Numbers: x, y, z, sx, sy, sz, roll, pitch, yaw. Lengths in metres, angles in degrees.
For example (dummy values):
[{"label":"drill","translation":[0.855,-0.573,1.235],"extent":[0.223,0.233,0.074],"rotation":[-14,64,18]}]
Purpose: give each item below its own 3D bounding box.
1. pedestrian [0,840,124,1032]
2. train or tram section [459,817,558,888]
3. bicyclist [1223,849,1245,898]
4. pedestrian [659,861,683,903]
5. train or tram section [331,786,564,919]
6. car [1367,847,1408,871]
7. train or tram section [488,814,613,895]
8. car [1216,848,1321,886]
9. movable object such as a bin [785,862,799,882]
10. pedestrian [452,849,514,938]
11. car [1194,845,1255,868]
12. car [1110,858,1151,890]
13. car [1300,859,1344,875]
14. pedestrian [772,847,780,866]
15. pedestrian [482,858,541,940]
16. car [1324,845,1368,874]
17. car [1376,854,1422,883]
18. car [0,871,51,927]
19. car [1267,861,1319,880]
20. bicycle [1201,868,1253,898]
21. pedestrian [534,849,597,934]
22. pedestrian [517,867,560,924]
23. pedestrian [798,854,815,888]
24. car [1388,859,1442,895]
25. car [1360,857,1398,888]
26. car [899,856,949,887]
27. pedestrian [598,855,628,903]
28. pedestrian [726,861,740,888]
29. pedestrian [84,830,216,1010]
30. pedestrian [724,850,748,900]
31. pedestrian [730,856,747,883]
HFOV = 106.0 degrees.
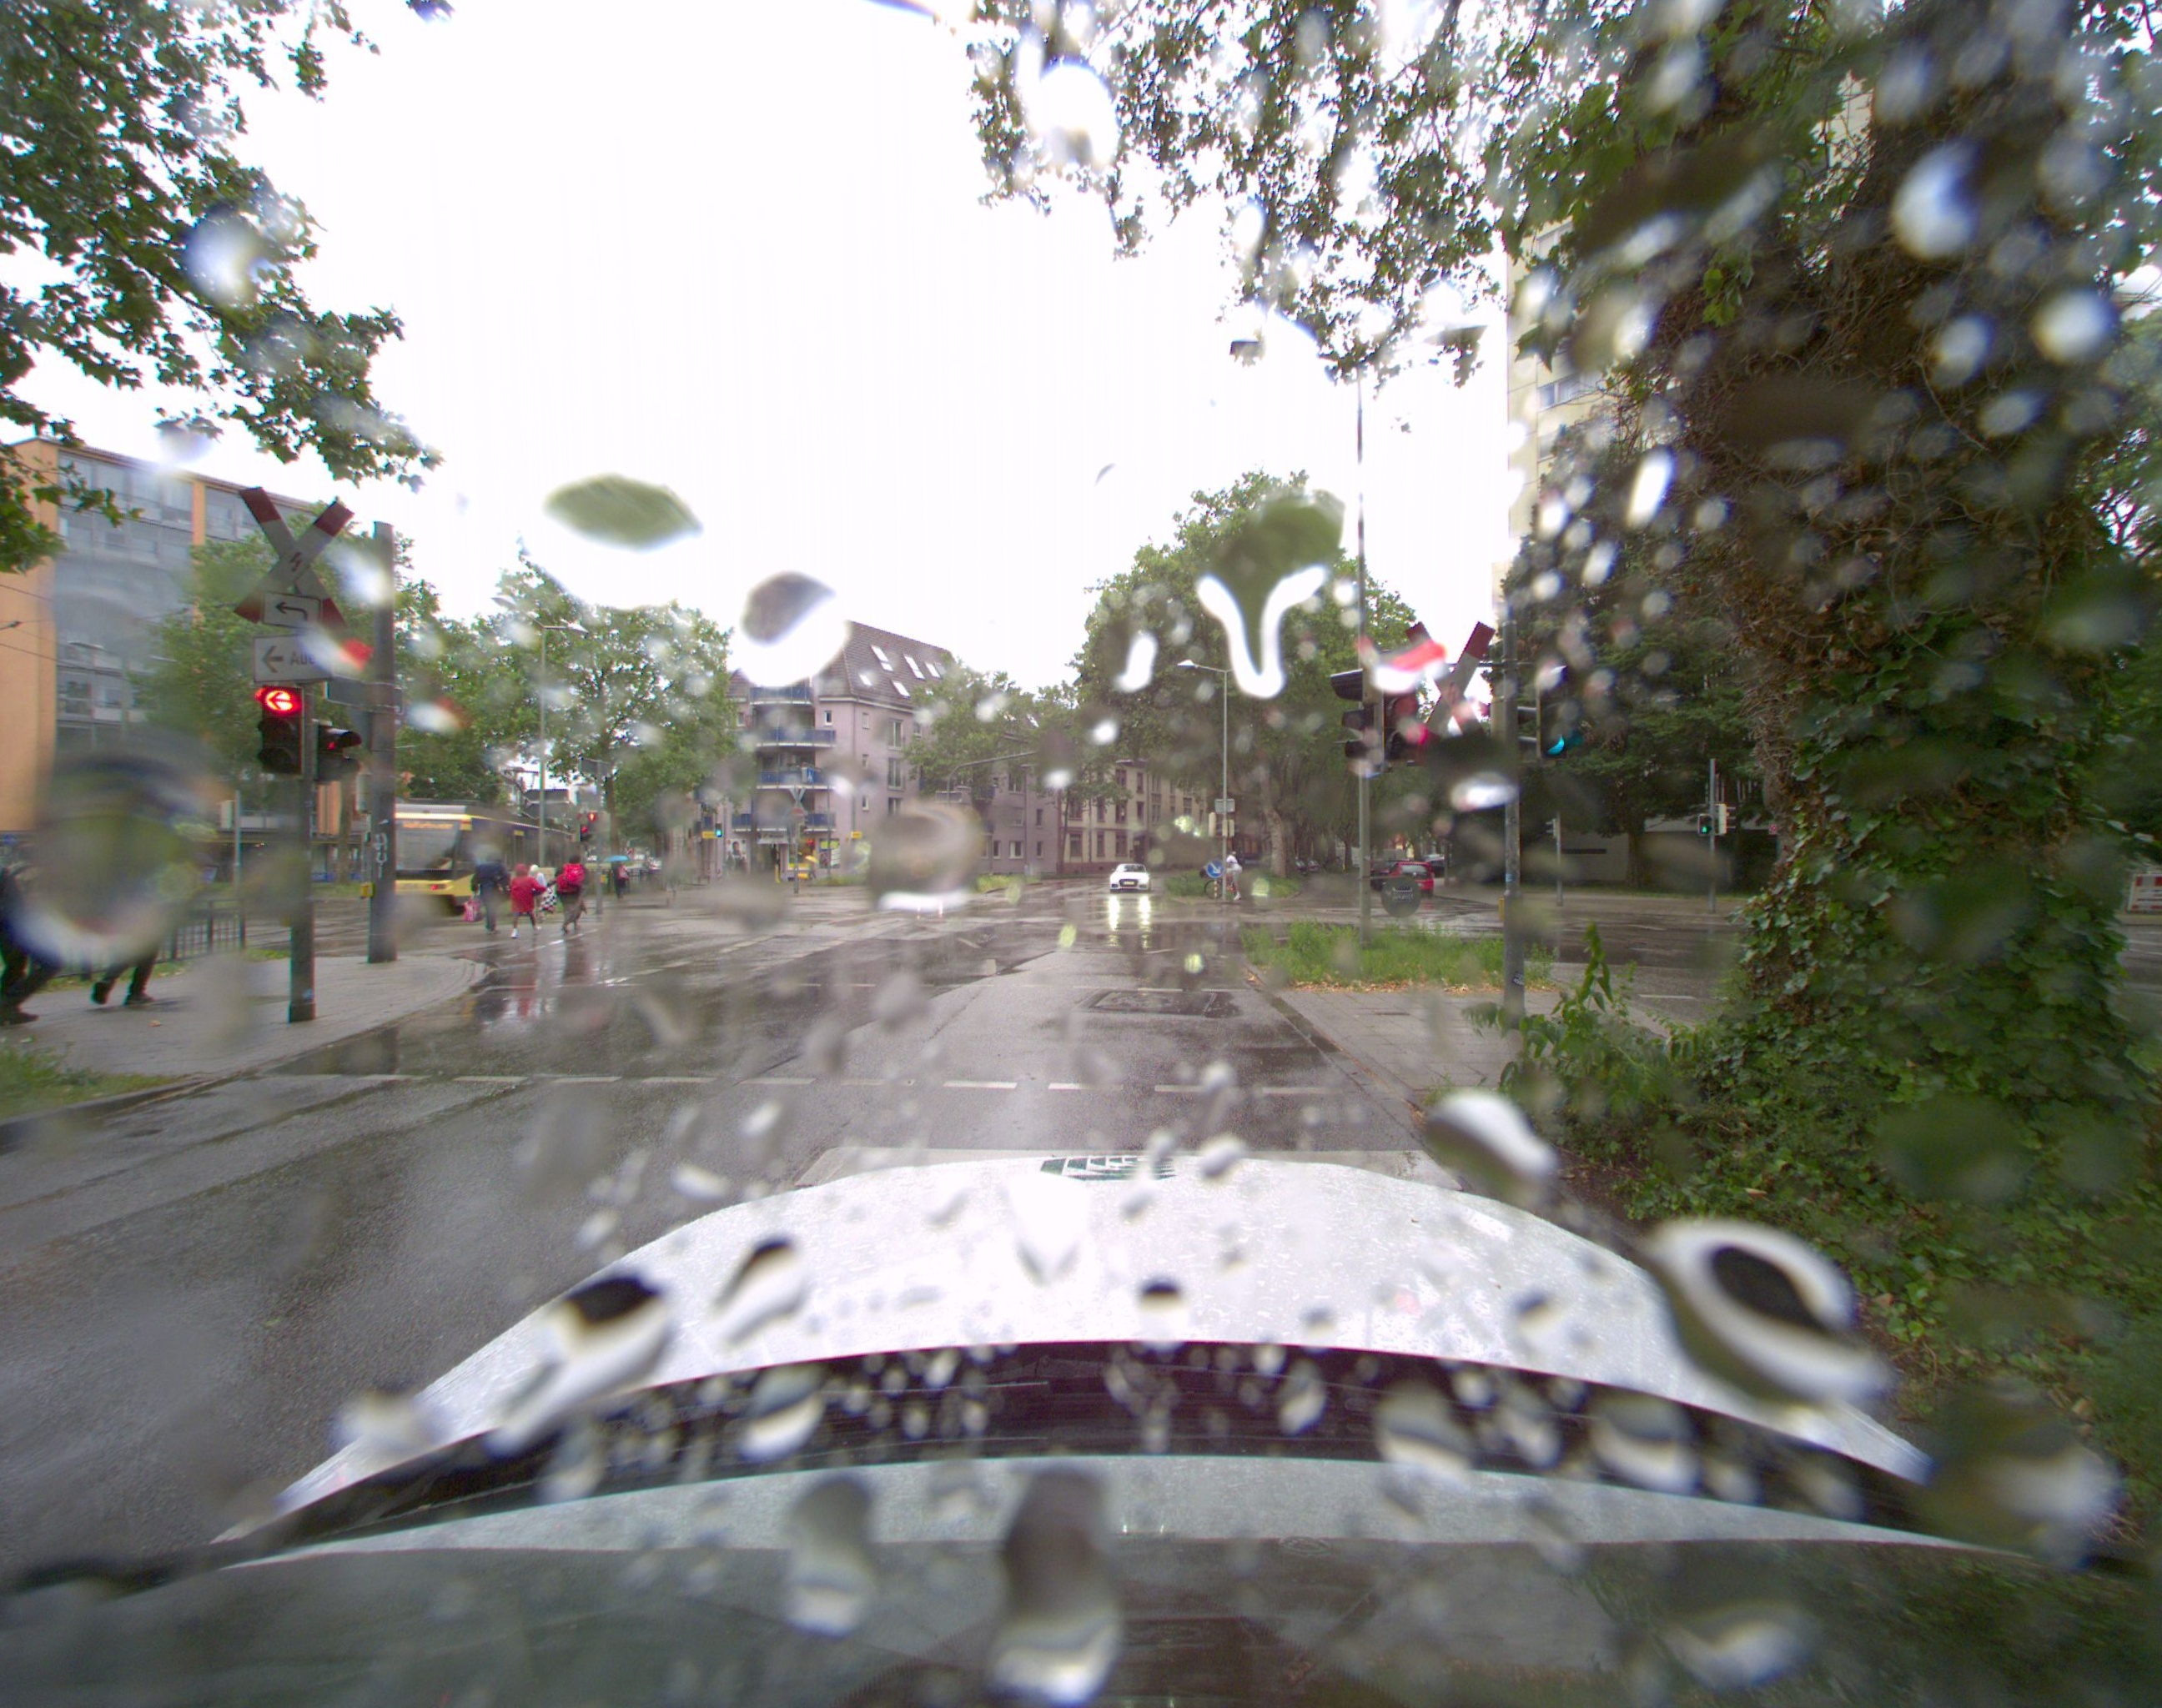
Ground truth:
[{"label":"pedestrian","translation":[-10.118,0.752,7.835],"extent":[0.867,1.755,0.826],"rotation":[0,0,-18]},{"label":"train or tram section","translation":[-35.796,0.000,51.605],"extent":[2.897,3.768,17.089],"rotation":[0,-1,-28]},{"label":"bicyclist","translation":[5.687,0.714,30.365],"extent":[0.790,1.786,0.699],"rotation":[-1,-1,9]},{"label":"pedestrian","translation":[-14.075,0.943,27.935],"extent":[0.653,1.396,0.774],"rotation":[0,0,-33]},{"label":"train or tram section","translation":[-21.635,-0.007,29.221],"extent":[2.873,3.545,15.253],"rotation":[0,0,-23]},{"label":"car","translation":[38.982,0.631,103.568],"extent":[2.006,2.948,4.726],"rotation":[0,-1,-29]},{"label":"train or tram section","translation":[-27.211,0.043,42.582],"extent":[2.871,3.545,13.616],"rotation":[0,0,-22]},{"label":"car","translation":[7.531,0.519,32.716],"extent":[3.958,1.486,2.008],"rotation":[-1,-1,14]},{"label":"movable object such as a bin","translation":[-18.243,1.131,51.447],"extent":[0.754,1.236,0.661],"rotation":[0,-1,-25]},{"label":"pedestrian","translation":[-11.968,0.762,16.297],"extent":[0.844,1.698,0.680],"rotation":[-4,3,-42]},{"label":"car","translation":[9.494,0.163,53.940],"extent":[3.838,1.486,1.723],"rotation":[-1,-1,14]},{"label":"car","translation":[2.395,0.935,39.223],"extent":[1.876,1.436,4.004],"rotation":[0,0,4]},{"label":"car","translation":[23.132,1.248,78.260],"extent":[3.958,1.547,2.008],"rotation":[-1,-1,14]},{"label":"pedestrian","translation":[-20.684,0.165,55.160],"extent":[0.445,1.329,0.558],"rotation":[0,-1,-15]},{"label":"pedestrian","translation":[-10.878,0.849,15.574],"extent":[0.680,1.520,0.658],"rotation":[-1,0,-5]},{"label":"car","translation":[28.317,0.580,87.216],"extent":[2.040,2.948,4.742],"rotation":[0,-1,-18]},{"label":"car","translation":[15.891,0.694,40.869],"extent":[1.770,1.348,3.945],"rotation":[0,1,16]},{"label":"car","translation":[-32.257,1.285,23.430],"extent":[3.994,1.530,1.615],"rotation":[0,1,12]},{"label":"car","translation":[16.936,1.341,65.218],"extent":[3.958,1.486,2.008],"rotation":[-1,-1,14]},{"label":"bicycle","translation":[5.444,1.069,30.398],"extent":[1.862,1.081,0.658],"rotation":[-1,-1,9]},{"label":"pedestrian","translation":[-10.250,0.729,16.222],"extent":[0.728,1.624,0.816],"rotation":[-1,1,-5]},{"label":"pedestrian","translation":[-13.225,1.008,19.878],"extent":[0.657,1.349,0.706],"rotation":[0,0,-12]},{"label":"pedestrian","translation":[-17.458,1.090,51.803],"extent":[0.913,2.151,0.880],"rotation":[0,-1,-25]},{"label":"car","translation":[14.823,0.979,36.333],"extent":[1.778,1.498,4.017],"rotation":[0,0,16]},{"label":"car","translation":[17.322,1.060,47.425],"extent":[1.769,1.727,4.017],"rotation":[-1,-1,16]},{"label":"car","translation":[-8.010,0.854,41.839],"extent":[1.745,1.512,3.839],"rotation":[0,0,1]},{"label":"pedestrian","translation":[-17.854,0.942,31.106],"extent":[0.962,1.766,0.944],"rotation":[0,-1,-28]},{"label":"pedestrian","translation":[-21.306,1.232,49.804],"extent":[0.677,1.600,0.959],"rotation":[0,-1,-29]},{"label":"pedestrian","translation":[-10.312,0.682,9.063],"extent":[0.876,1.864,0.881],"rotation":[0,0,-43]},{"label":"pedestrian","translation":[-13.052,0.769,30.824],"extent":[0.791,1.855,0.676],"rotation":[0,0,-22]},{"label":"pedestrian","translation":[-19.890,0.915,47.308],"extent":[0.755,1.533,0.783],"rotation":[0,-1,-35]}]
